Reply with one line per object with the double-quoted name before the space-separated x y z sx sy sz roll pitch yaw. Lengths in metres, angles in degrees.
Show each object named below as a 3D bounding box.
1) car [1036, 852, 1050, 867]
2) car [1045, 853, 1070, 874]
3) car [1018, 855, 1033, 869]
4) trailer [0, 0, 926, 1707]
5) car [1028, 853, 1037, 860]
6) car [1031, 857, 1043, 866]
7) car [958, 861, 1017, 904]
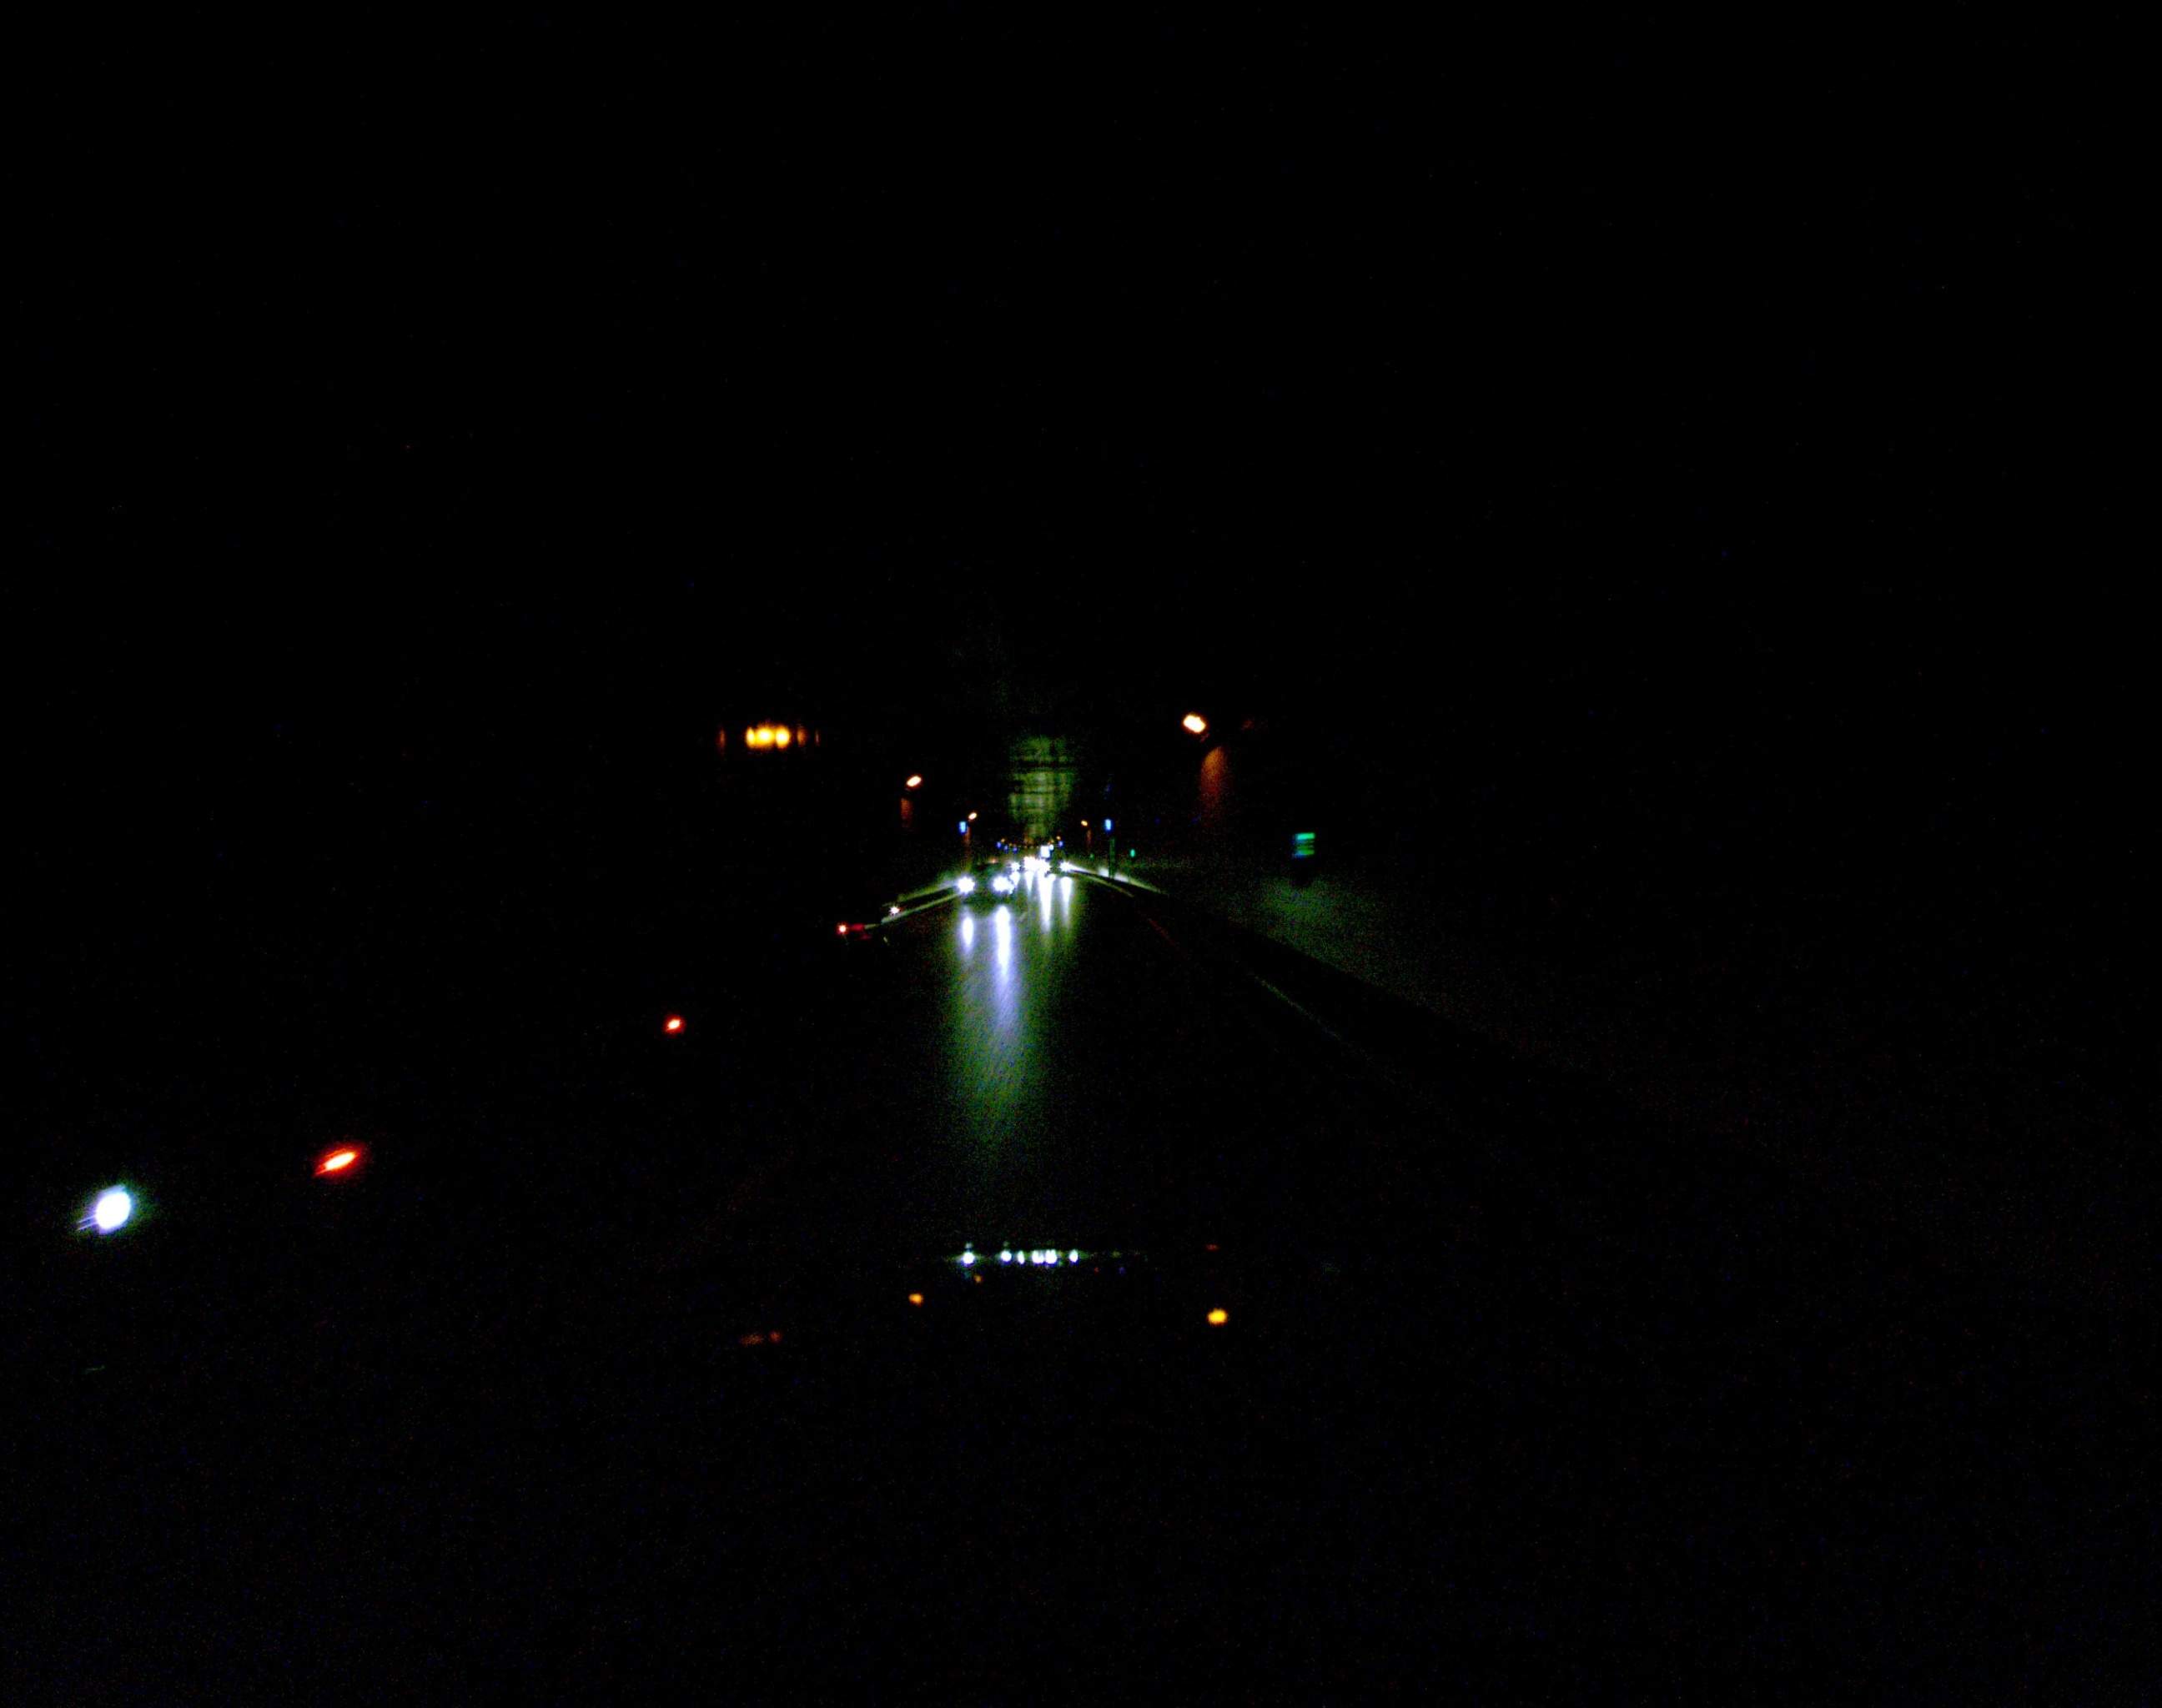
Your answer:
"car" -4.945 0.666 98.724 1.715 1.729 3.997 -1 2 -4
"car" -1.838 0.724 59.865 1.820 1.589 4.000 1 0 0
"car" -6.536 0.892 89.289 1.736 1.565 3.998 -2 0 -4
"trailer" -3.332 -0.224 4.544 2.882 3.836 8.947 -1 0 0
"car" -12.263 0.689 190.458 1.999 1.674 3.999 -1 1 0
"car" -7.865 1.285 135.358 1.999 1.576 4.649 -1 1 -3
"car" -3.451 1.017 28.700 1.735 1.395 3.798 -2 1 0
